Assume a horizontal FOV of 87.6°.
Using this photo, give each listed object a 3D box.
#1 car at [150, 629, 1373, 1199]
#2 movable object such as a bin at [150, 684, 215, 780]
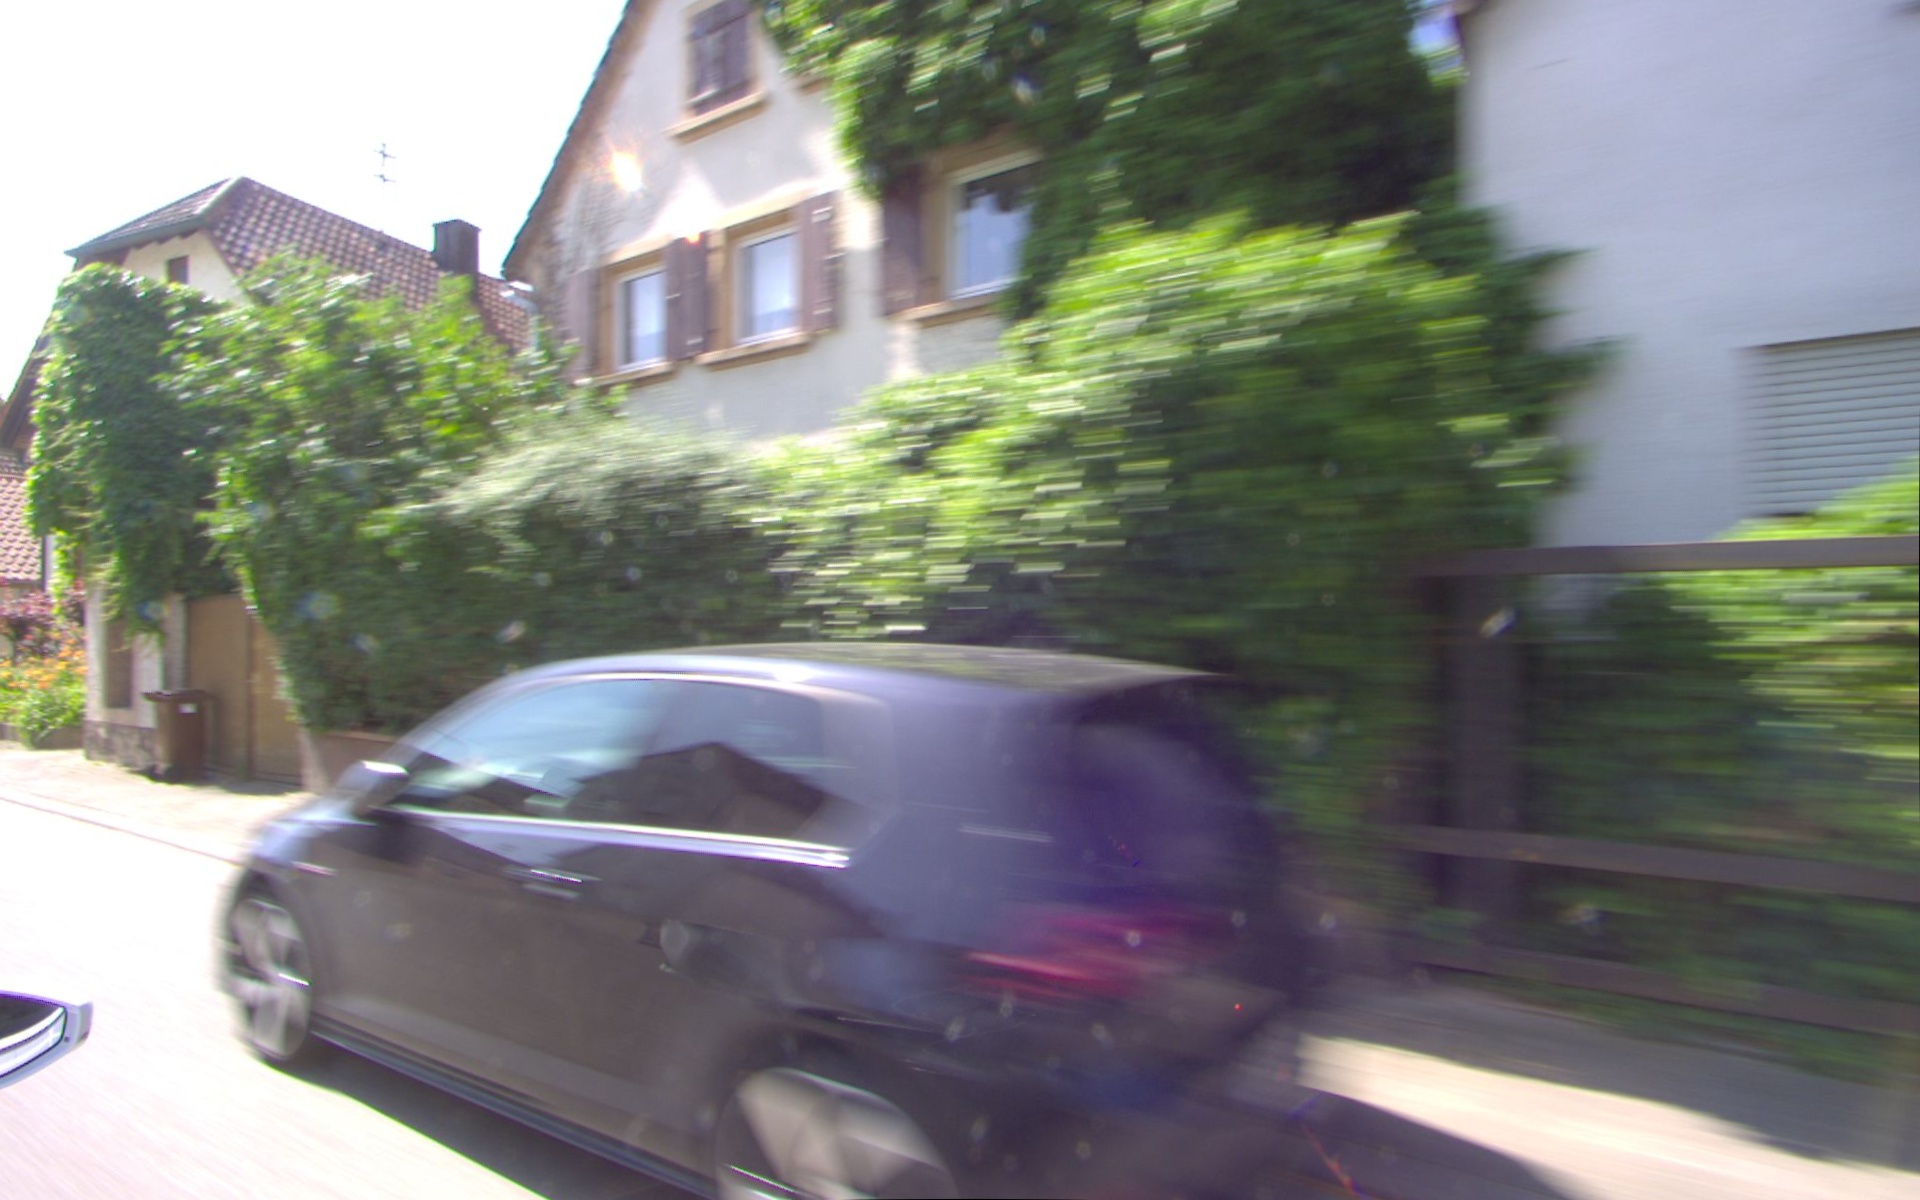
[{"bbox_3d":[-0.909,0.846,3.361,4.009,1.483,1.708,-1,-1,34],"label":"car"},{"bbox_3d":[-8.051,1.355,10.377,0.432,0.924,0.411,0,0,32],"label":"movable object such as a bin"}]
